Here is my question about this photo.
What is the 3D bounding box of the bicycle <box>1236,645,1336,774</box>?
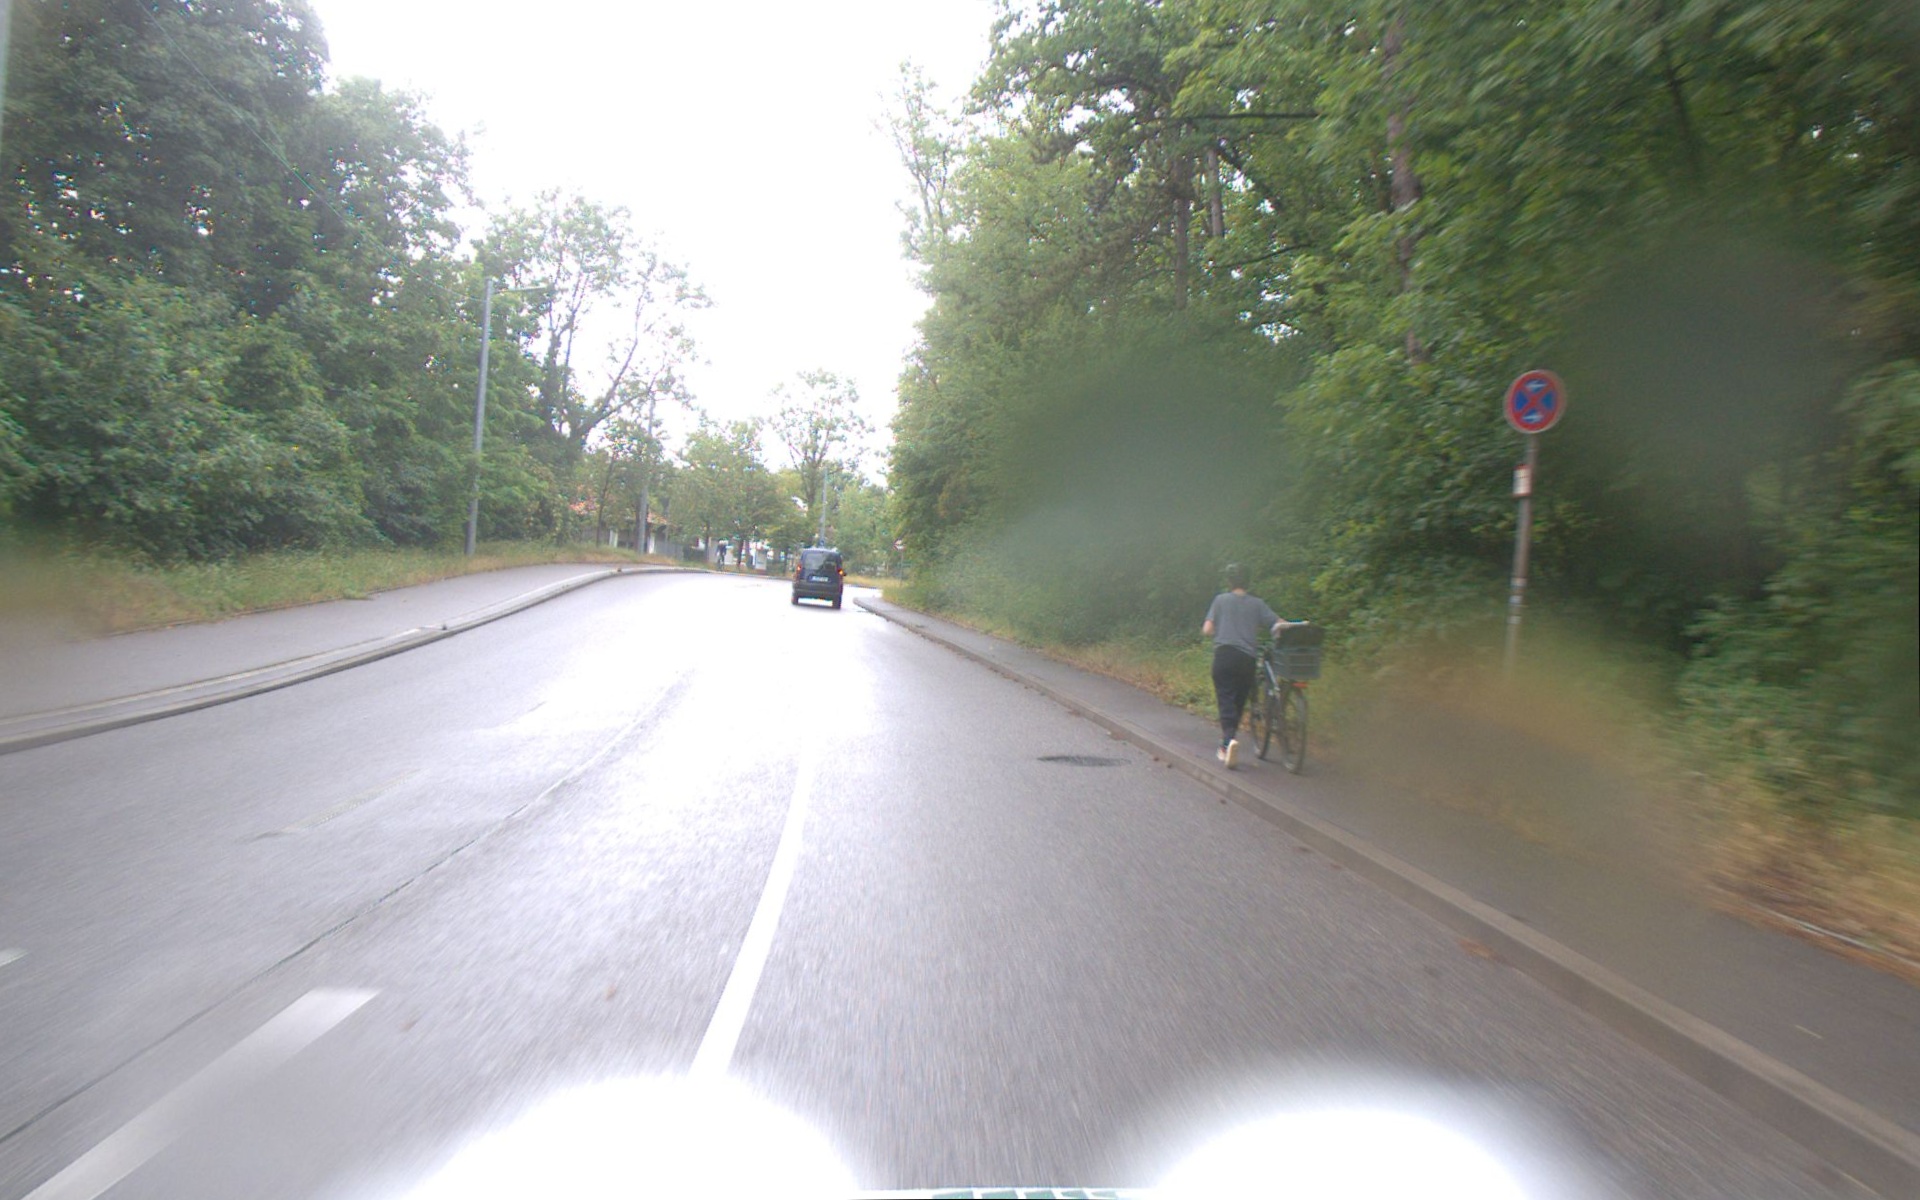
[{"bbox_3d":[2.592,0.843,13.274,0.348,0.863,1.742,-1,2,-4],"label":"bicycle"}]

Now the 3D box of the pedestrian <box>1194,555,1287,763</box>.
[{"bbox_3d":[2.242,0.471,13.288,0.553,1.605,0.769,1,-2,-4],"label":"pedestrian"}]

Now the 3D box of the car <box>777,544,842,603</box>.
[{"bbox_3d":[-5.010,-0.843,54.826,1.794,1.825,3.990,1,-1,-10],"label":"car"}]

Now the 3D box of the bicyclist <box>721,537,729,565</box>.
[{"bbox_3d":[-13.430,-2.786,94.505,0.329,1.601,1.297,3,1,-5],"label":"bicyclist"}]
